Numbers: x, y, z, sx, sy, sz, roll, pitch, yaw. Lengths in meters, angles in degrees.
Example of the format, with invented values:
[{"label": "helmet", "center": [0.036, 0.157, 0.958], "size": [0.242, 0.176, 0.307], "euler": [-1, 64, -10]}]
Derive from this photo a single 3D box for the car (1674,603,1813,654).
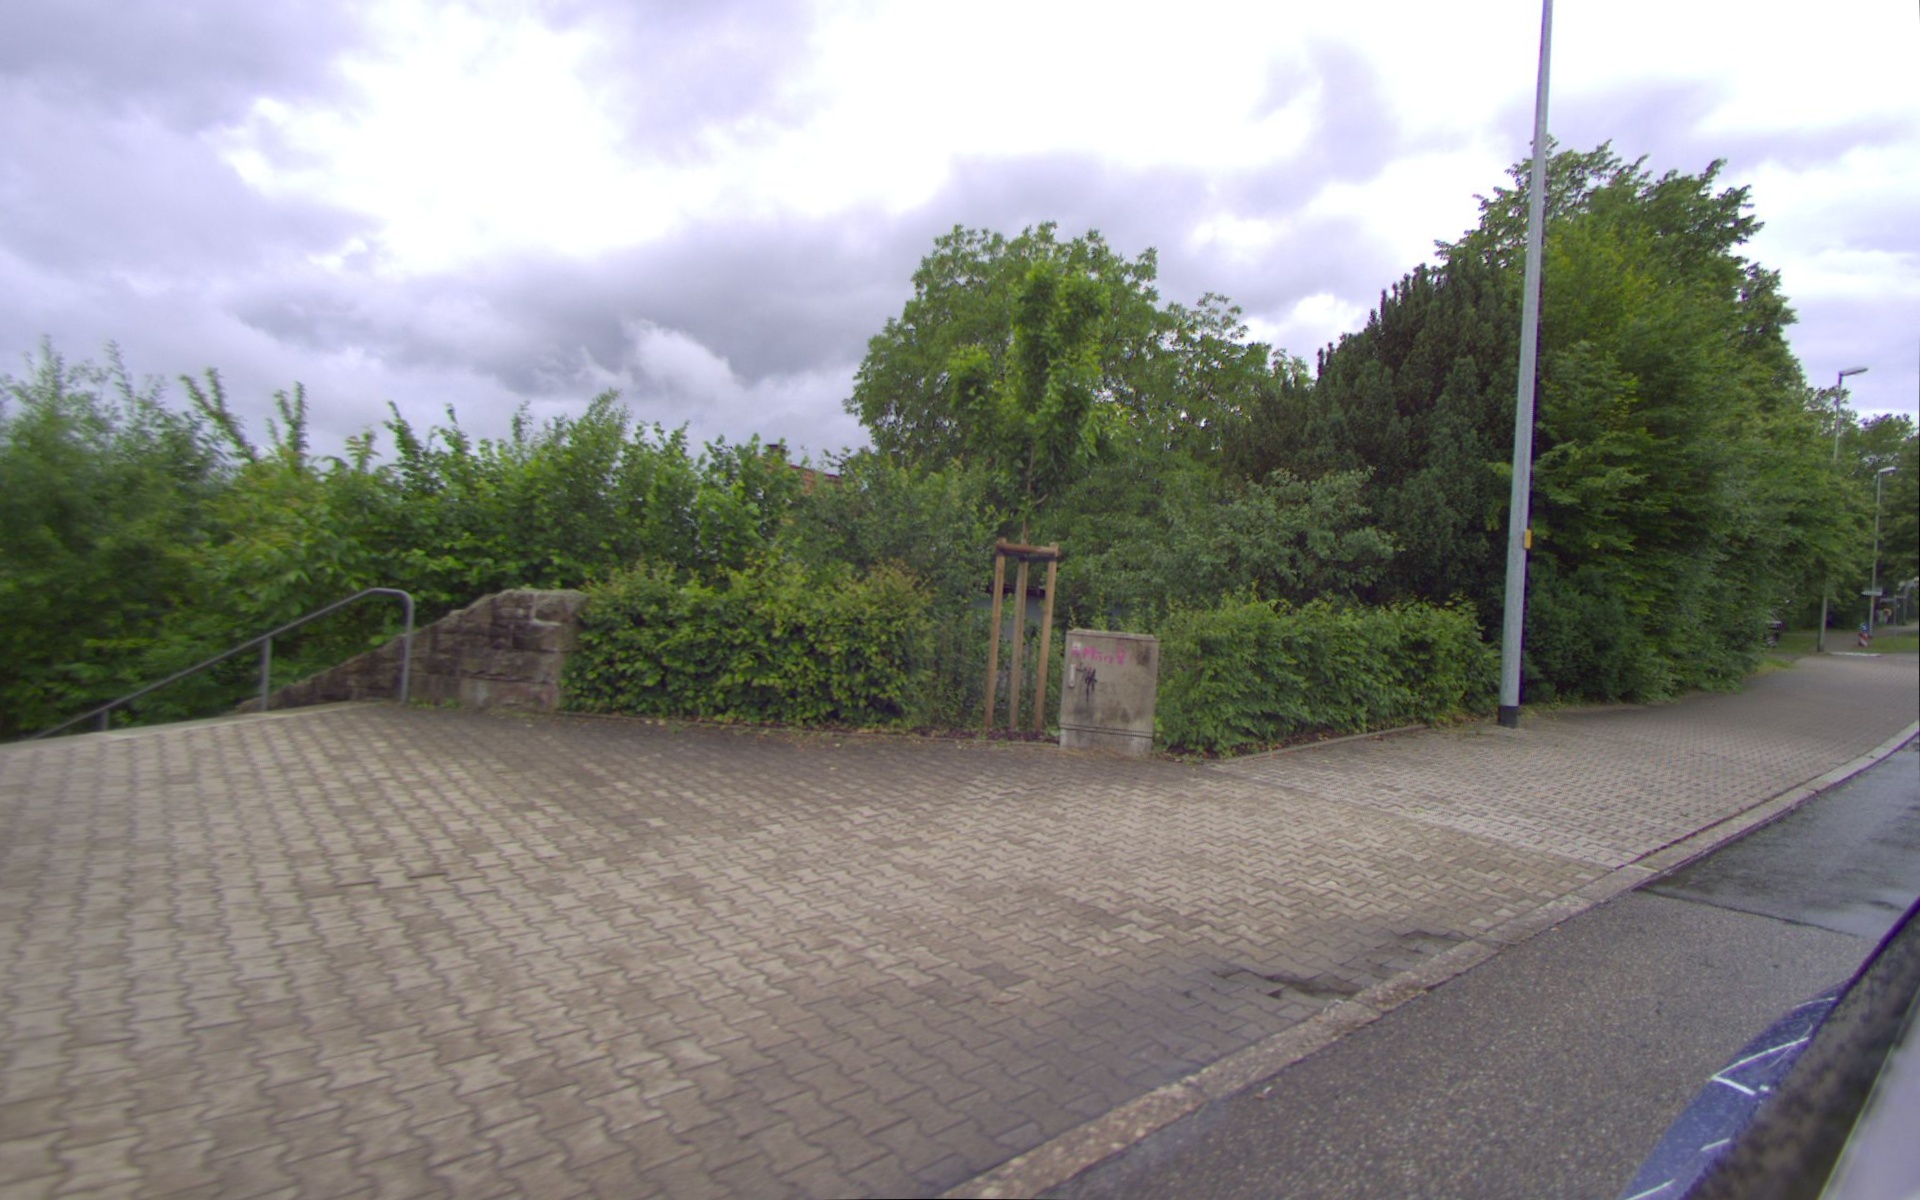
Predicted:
[{"label": "car", "center": [31.928, 1.148, 41.271], "size": [4.800, 1.711, 1.958], "euler": [4, -1, -15]}]
